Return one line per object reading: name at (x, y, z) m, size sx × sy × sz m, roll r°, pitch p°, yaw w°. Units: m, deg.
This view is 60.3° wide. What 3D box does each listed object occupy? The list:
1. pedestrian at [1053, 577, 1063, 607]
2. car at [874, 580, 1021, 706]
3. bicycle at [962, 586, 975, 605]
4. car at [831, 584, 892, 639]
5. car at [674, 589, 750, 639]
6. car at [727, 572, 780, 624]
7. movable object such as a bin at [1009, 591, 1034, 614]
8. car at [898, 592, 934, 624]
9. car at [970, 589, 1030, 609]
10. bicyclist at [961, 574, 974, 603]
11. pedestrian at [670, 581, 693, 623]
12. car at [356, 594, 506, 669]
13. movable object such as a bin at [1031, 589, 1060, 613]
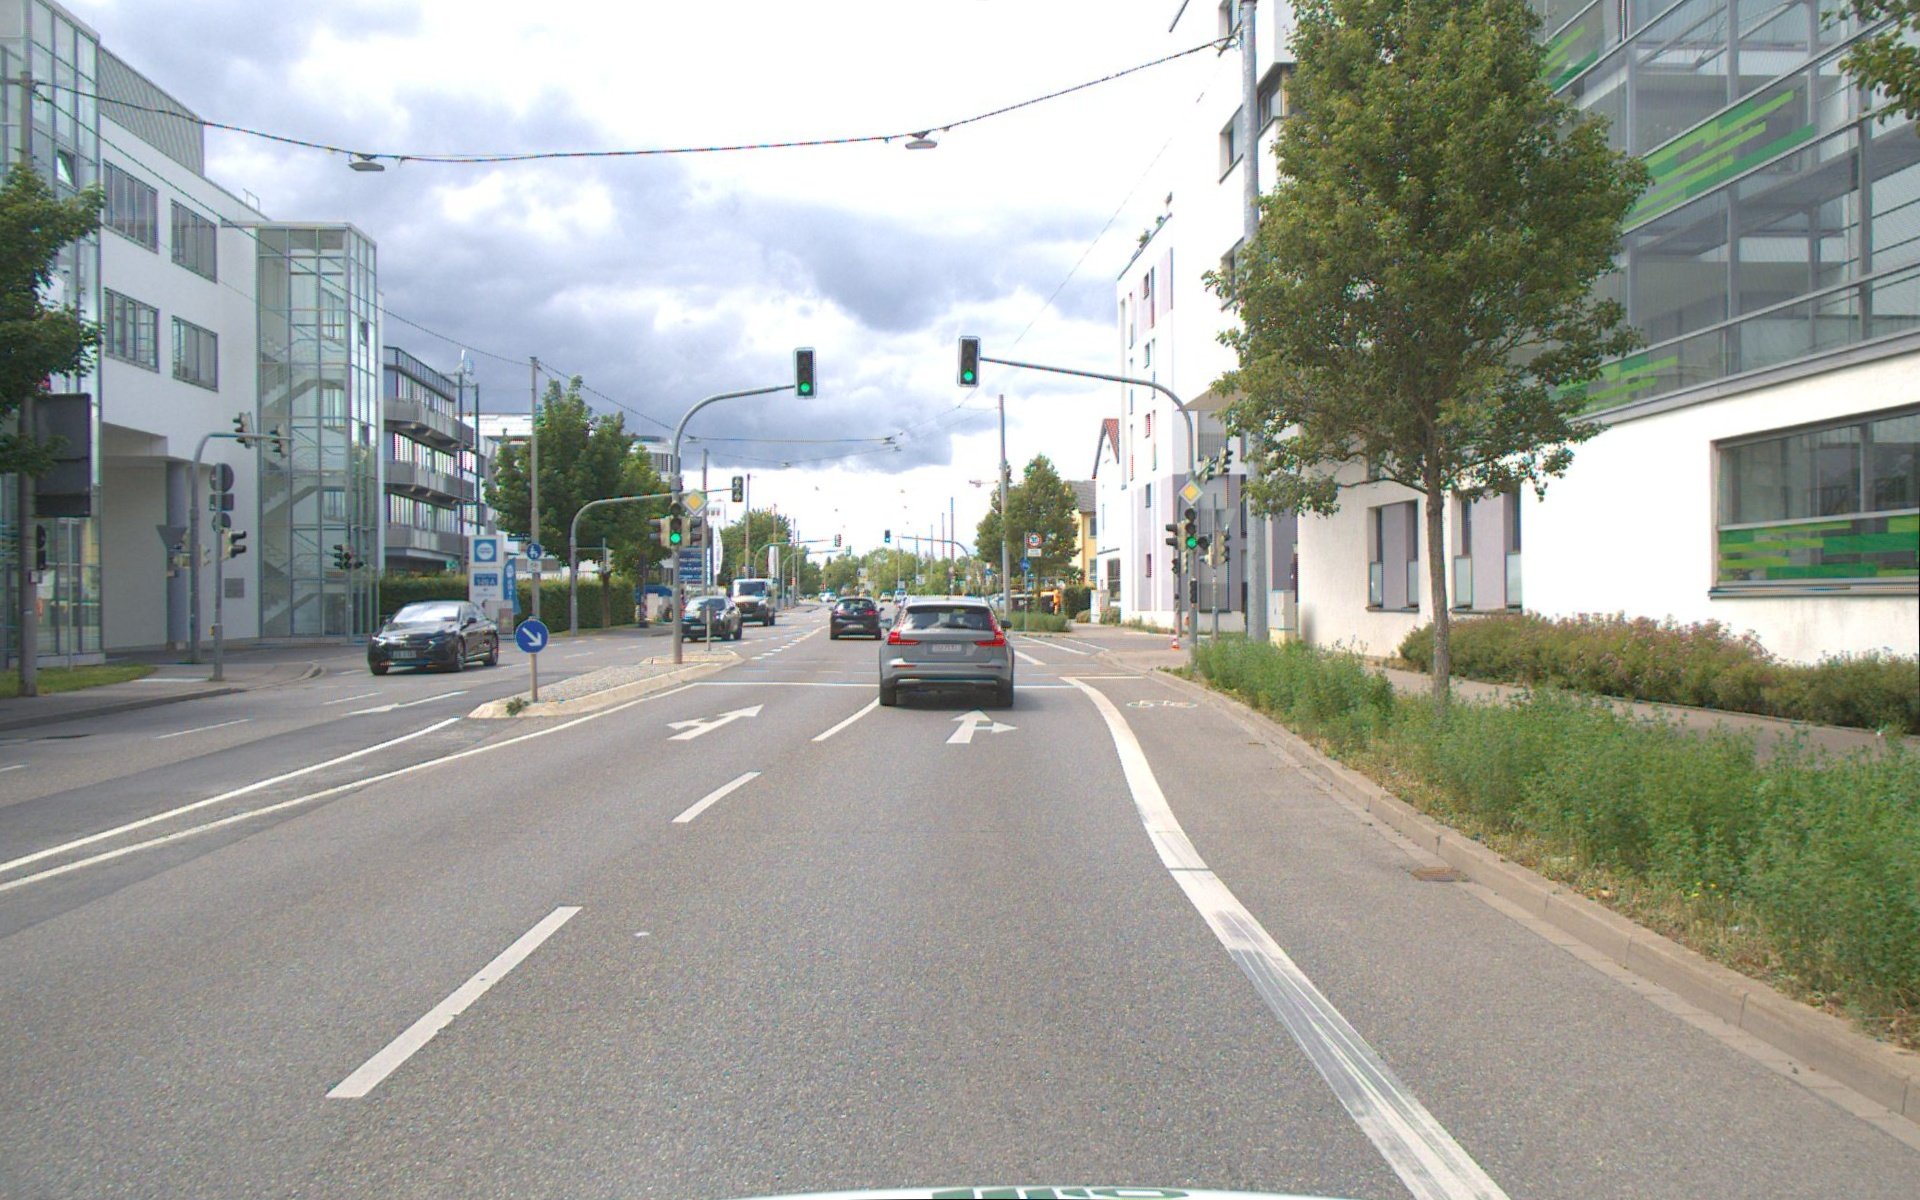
pedestrian at (5.963, -0.495, 100.373) m, size 0.496 × 1.796 × 0.501 m, roll 1°, pitch -1°, yaw 14°
car at (-0.213, 0.584, 23.441) m, size 1.857 × 1.581 × 3.998 m, roll 2°, pitch -1°, yaw -2°
bicycle at (0.480, -0.257, 97.803) m, size 0.625 × 1.081 × 1.977 m, roll -4°, pitch 0°, yaw -2°
car at (-3.368, 0.385, 56.029) m, size 1.954 × 1.747 × 3.996 m, roll 2°, pitch -1°, yaw -4°
car at (-8.374, 0.485, 56.207) m, size 1.846 × 1.579 × 4.539 m, roll -2°, pitch -1°, yaw 0°
car at (-10.814, -0.101, 86.921) m, size 2.099 × 2.515 × 6.071 m, roll -2°, pitch 0°, yaw -1°
movable object such as a bin at (3.765, 0.133, 101.810) m, size 1.291 × 1.385 × 1.252 m, roll -1°, pitch -1°, yaw 14°
car at (-2.517, 0.489, 94.038) m, size 1.954 × 1.724 × 3.997 m, roll 2°, pitch -1°, yaw -3°
car at (3.165, -0.064, 130.983) m, size 4.603 × 1.519 × 2.044 m, roll 0°, pitch 1°, yaw -3°
bicyclist at (0.447, -0.669, 97.921) m, size 0.625 × 1.704 × 0.890 m, roll -4°, pitch 0°, yaw -2°
pedestrian at (-13.682, 0.096, 81.180) m, size 0.713 × 2.049 × 0.806 m, roll 1°, pitch -1°, yaw 40°
car at (-11.601, 0.658, 36.658) m, size 1.984 × 1.470 × 5.045 m, roll -2°, pitch 0°, yaw -4°
movable object such as a bin at (5.294, 0.046, 102.323) m, size 1.296 × 1.460 × 1.247 m, roll -1°, pitch -1°, yaw 35°
